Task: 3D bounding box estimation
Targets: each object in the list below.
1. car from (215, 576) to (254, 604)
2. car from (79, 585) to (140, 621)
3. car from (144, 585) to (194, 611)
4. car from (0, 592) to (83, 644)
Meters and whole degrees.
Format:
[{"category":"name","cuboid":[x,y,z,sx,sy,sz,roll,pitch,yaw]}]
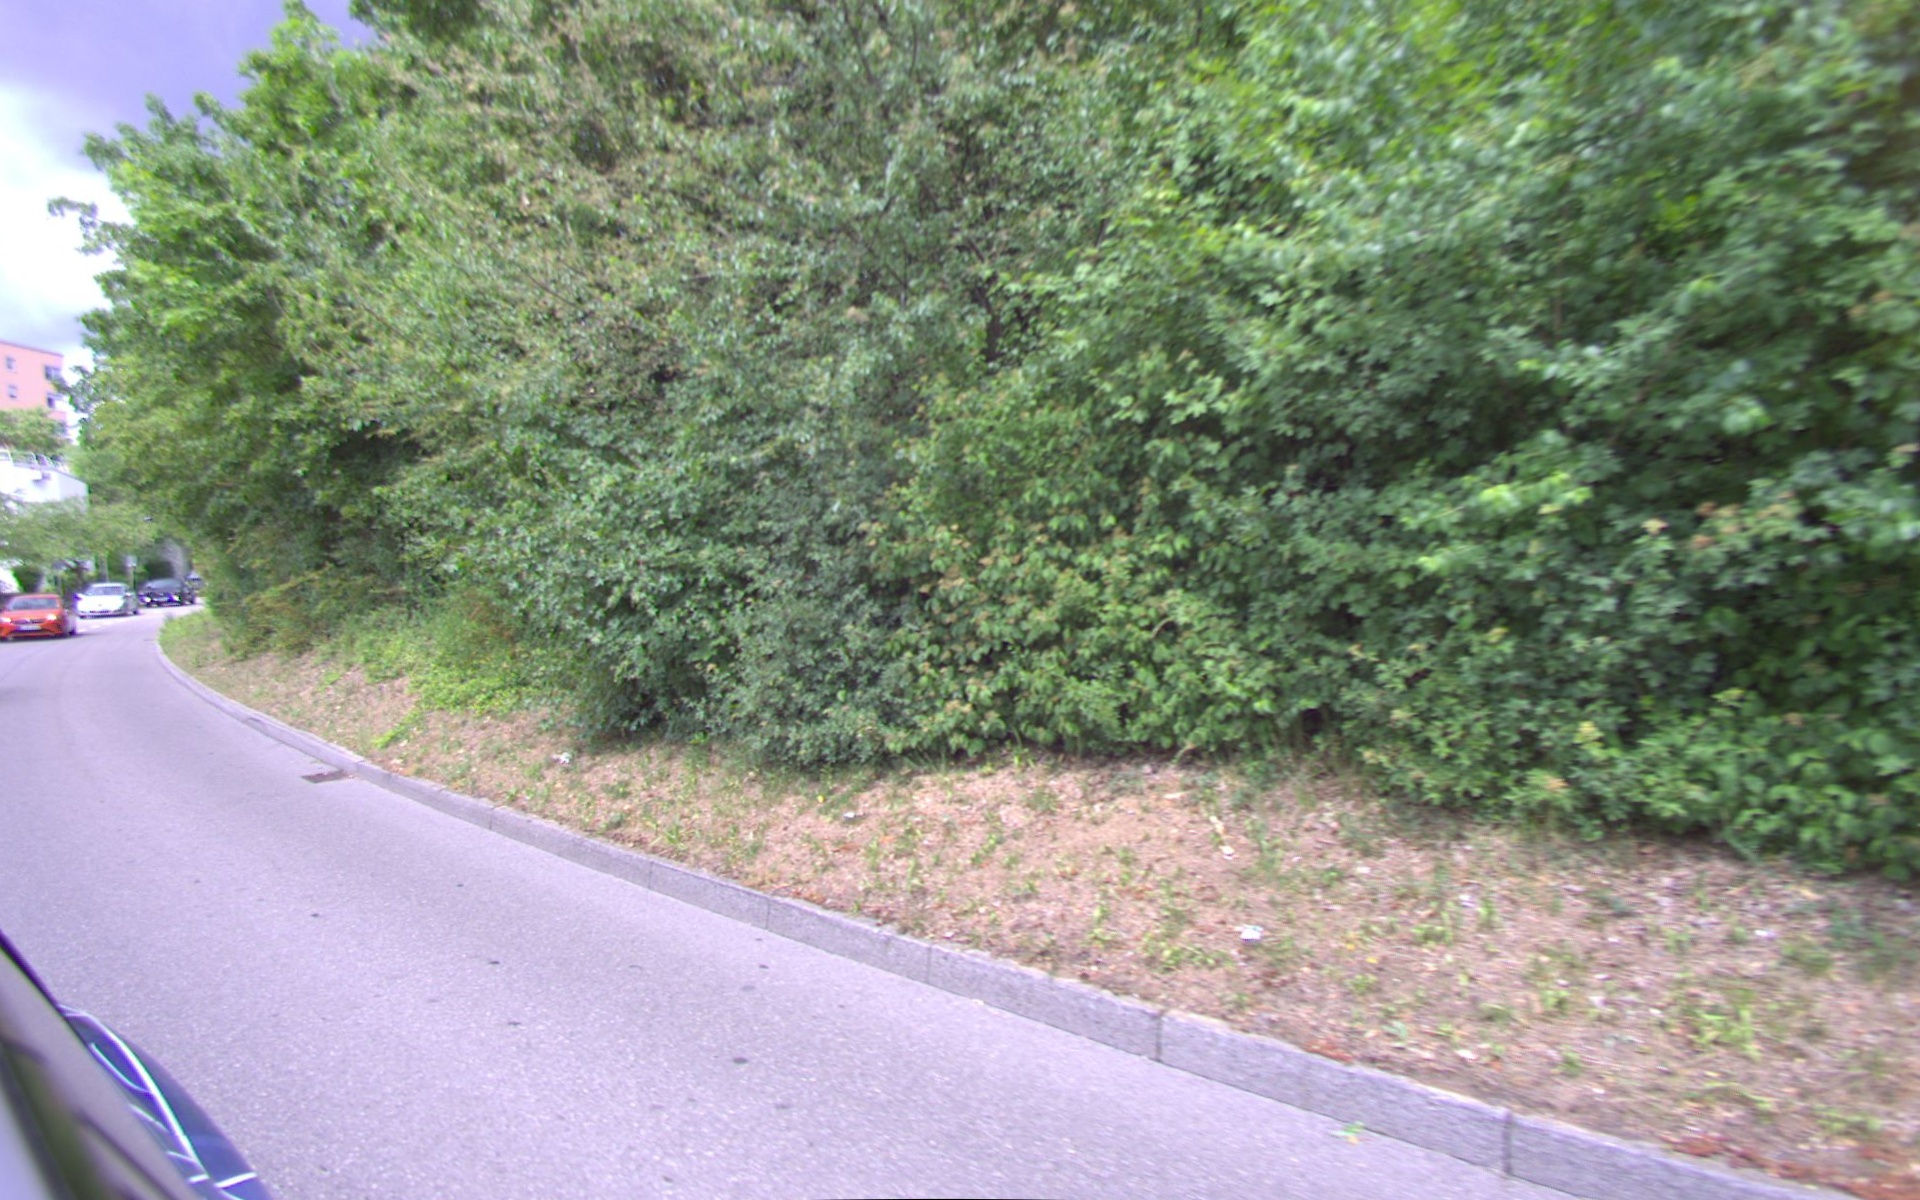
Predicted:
[{"category":"car","cuboid":[-49.426,-0.674,69.021,1.729,1.674,4.132,-6,4,-32]},{"category":"car","cuboid":[-40.892,0.117,48.735,1.752,1.462,4.011,-4,4,-34]},{"category":"car","cuboid":[-46.918,-0.140,60.099,1.751,1.431,4.013,1,1,-29]},{"category":"car","cuboid":[-30.472,0.547,33.494,1.836,1.453,4.003,-5,5,-44]}]
